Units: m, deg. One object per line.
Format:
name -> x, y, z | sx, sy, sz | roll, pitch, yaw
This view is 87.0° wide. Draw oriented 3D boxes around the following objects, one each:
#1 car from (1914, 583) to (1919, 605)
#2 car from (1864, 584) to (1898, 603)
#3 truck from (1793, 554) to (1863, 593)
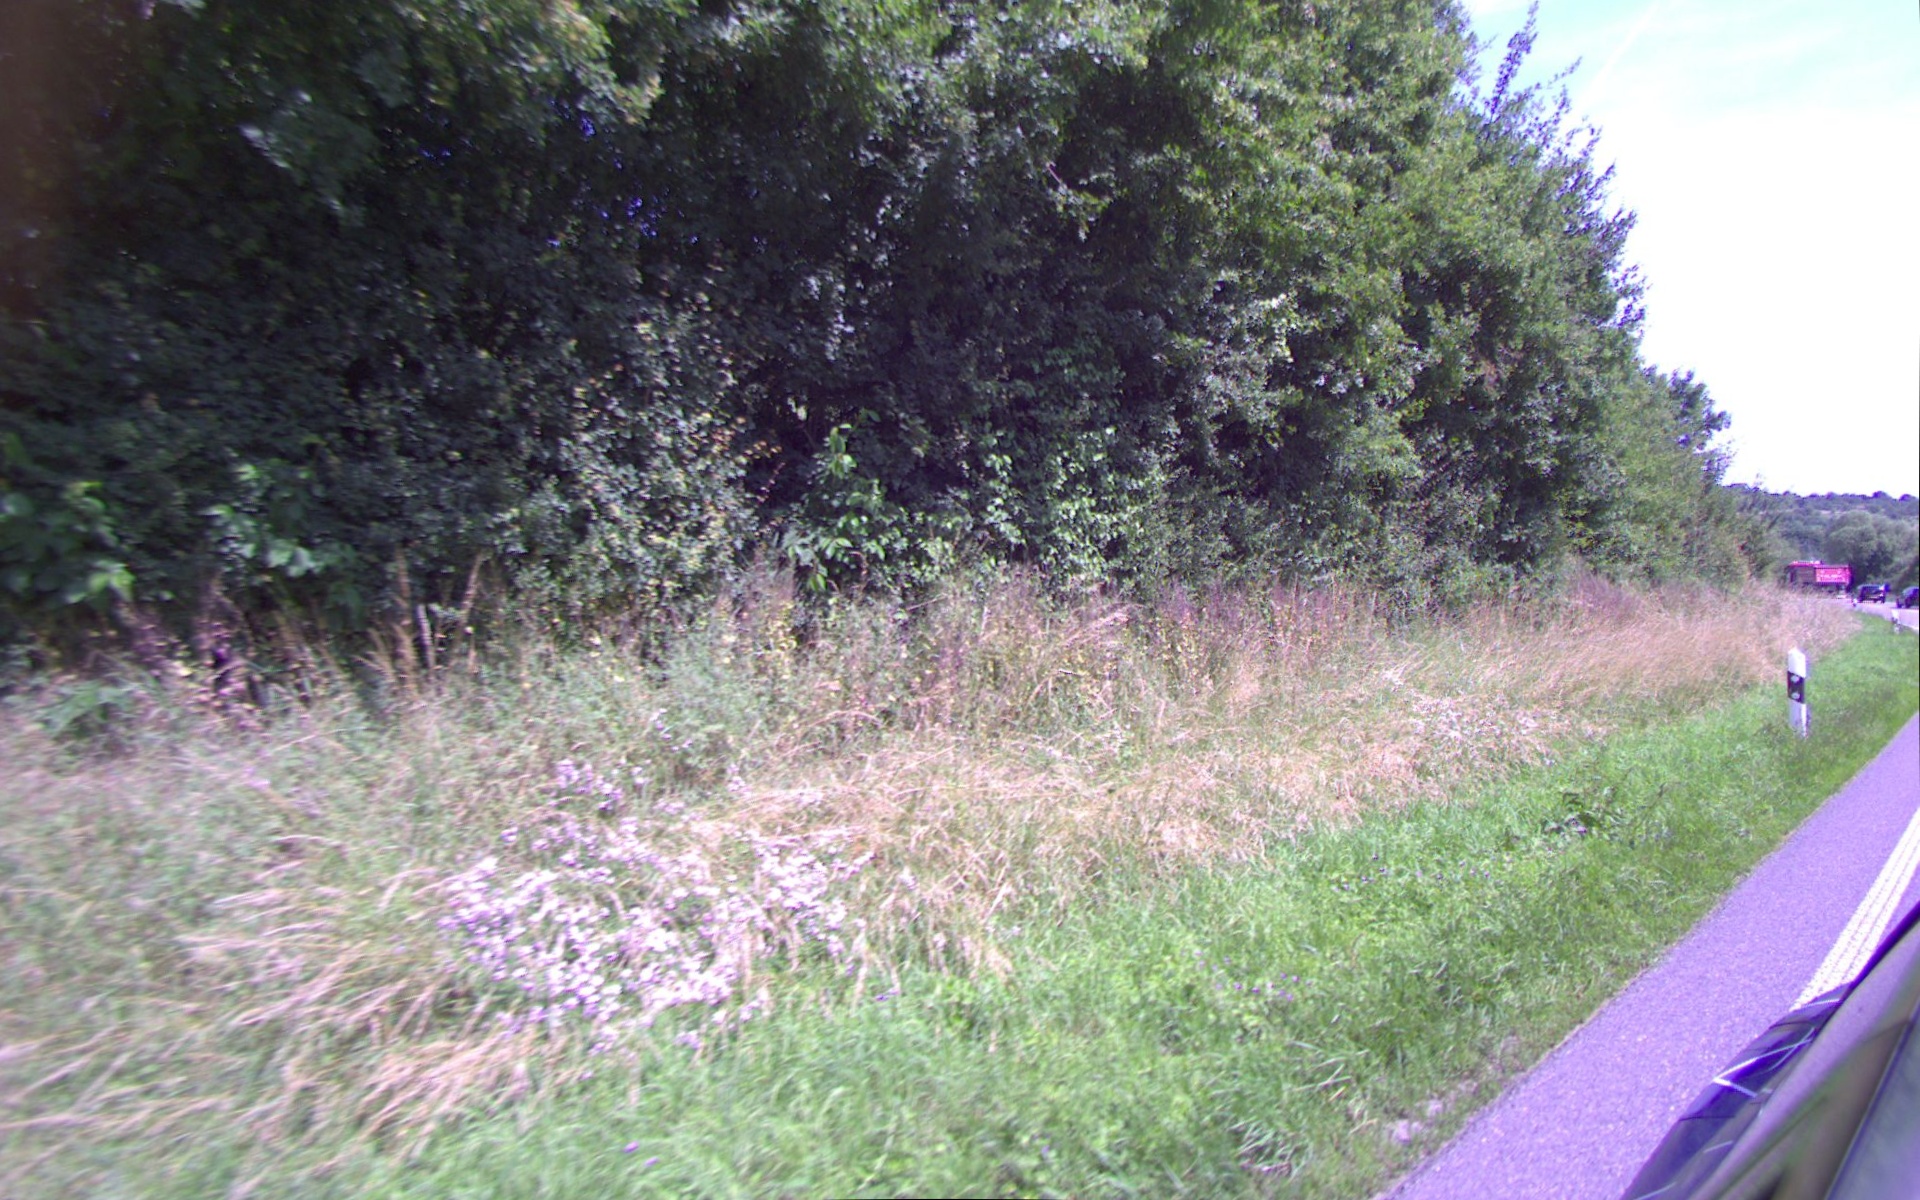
car -> 66.552, -0.391, 68.994 | 1.706, 1.489, 4.317 | 1, 2, 37
car -> 75.381, -0.558, 82.866 | 1.423, 1.489, 3.236 | 1, 2, 31
truck -> 84.508, -2.530, 98.820 | 2.538, 3.495, 12.507 | 2, 1, 29
